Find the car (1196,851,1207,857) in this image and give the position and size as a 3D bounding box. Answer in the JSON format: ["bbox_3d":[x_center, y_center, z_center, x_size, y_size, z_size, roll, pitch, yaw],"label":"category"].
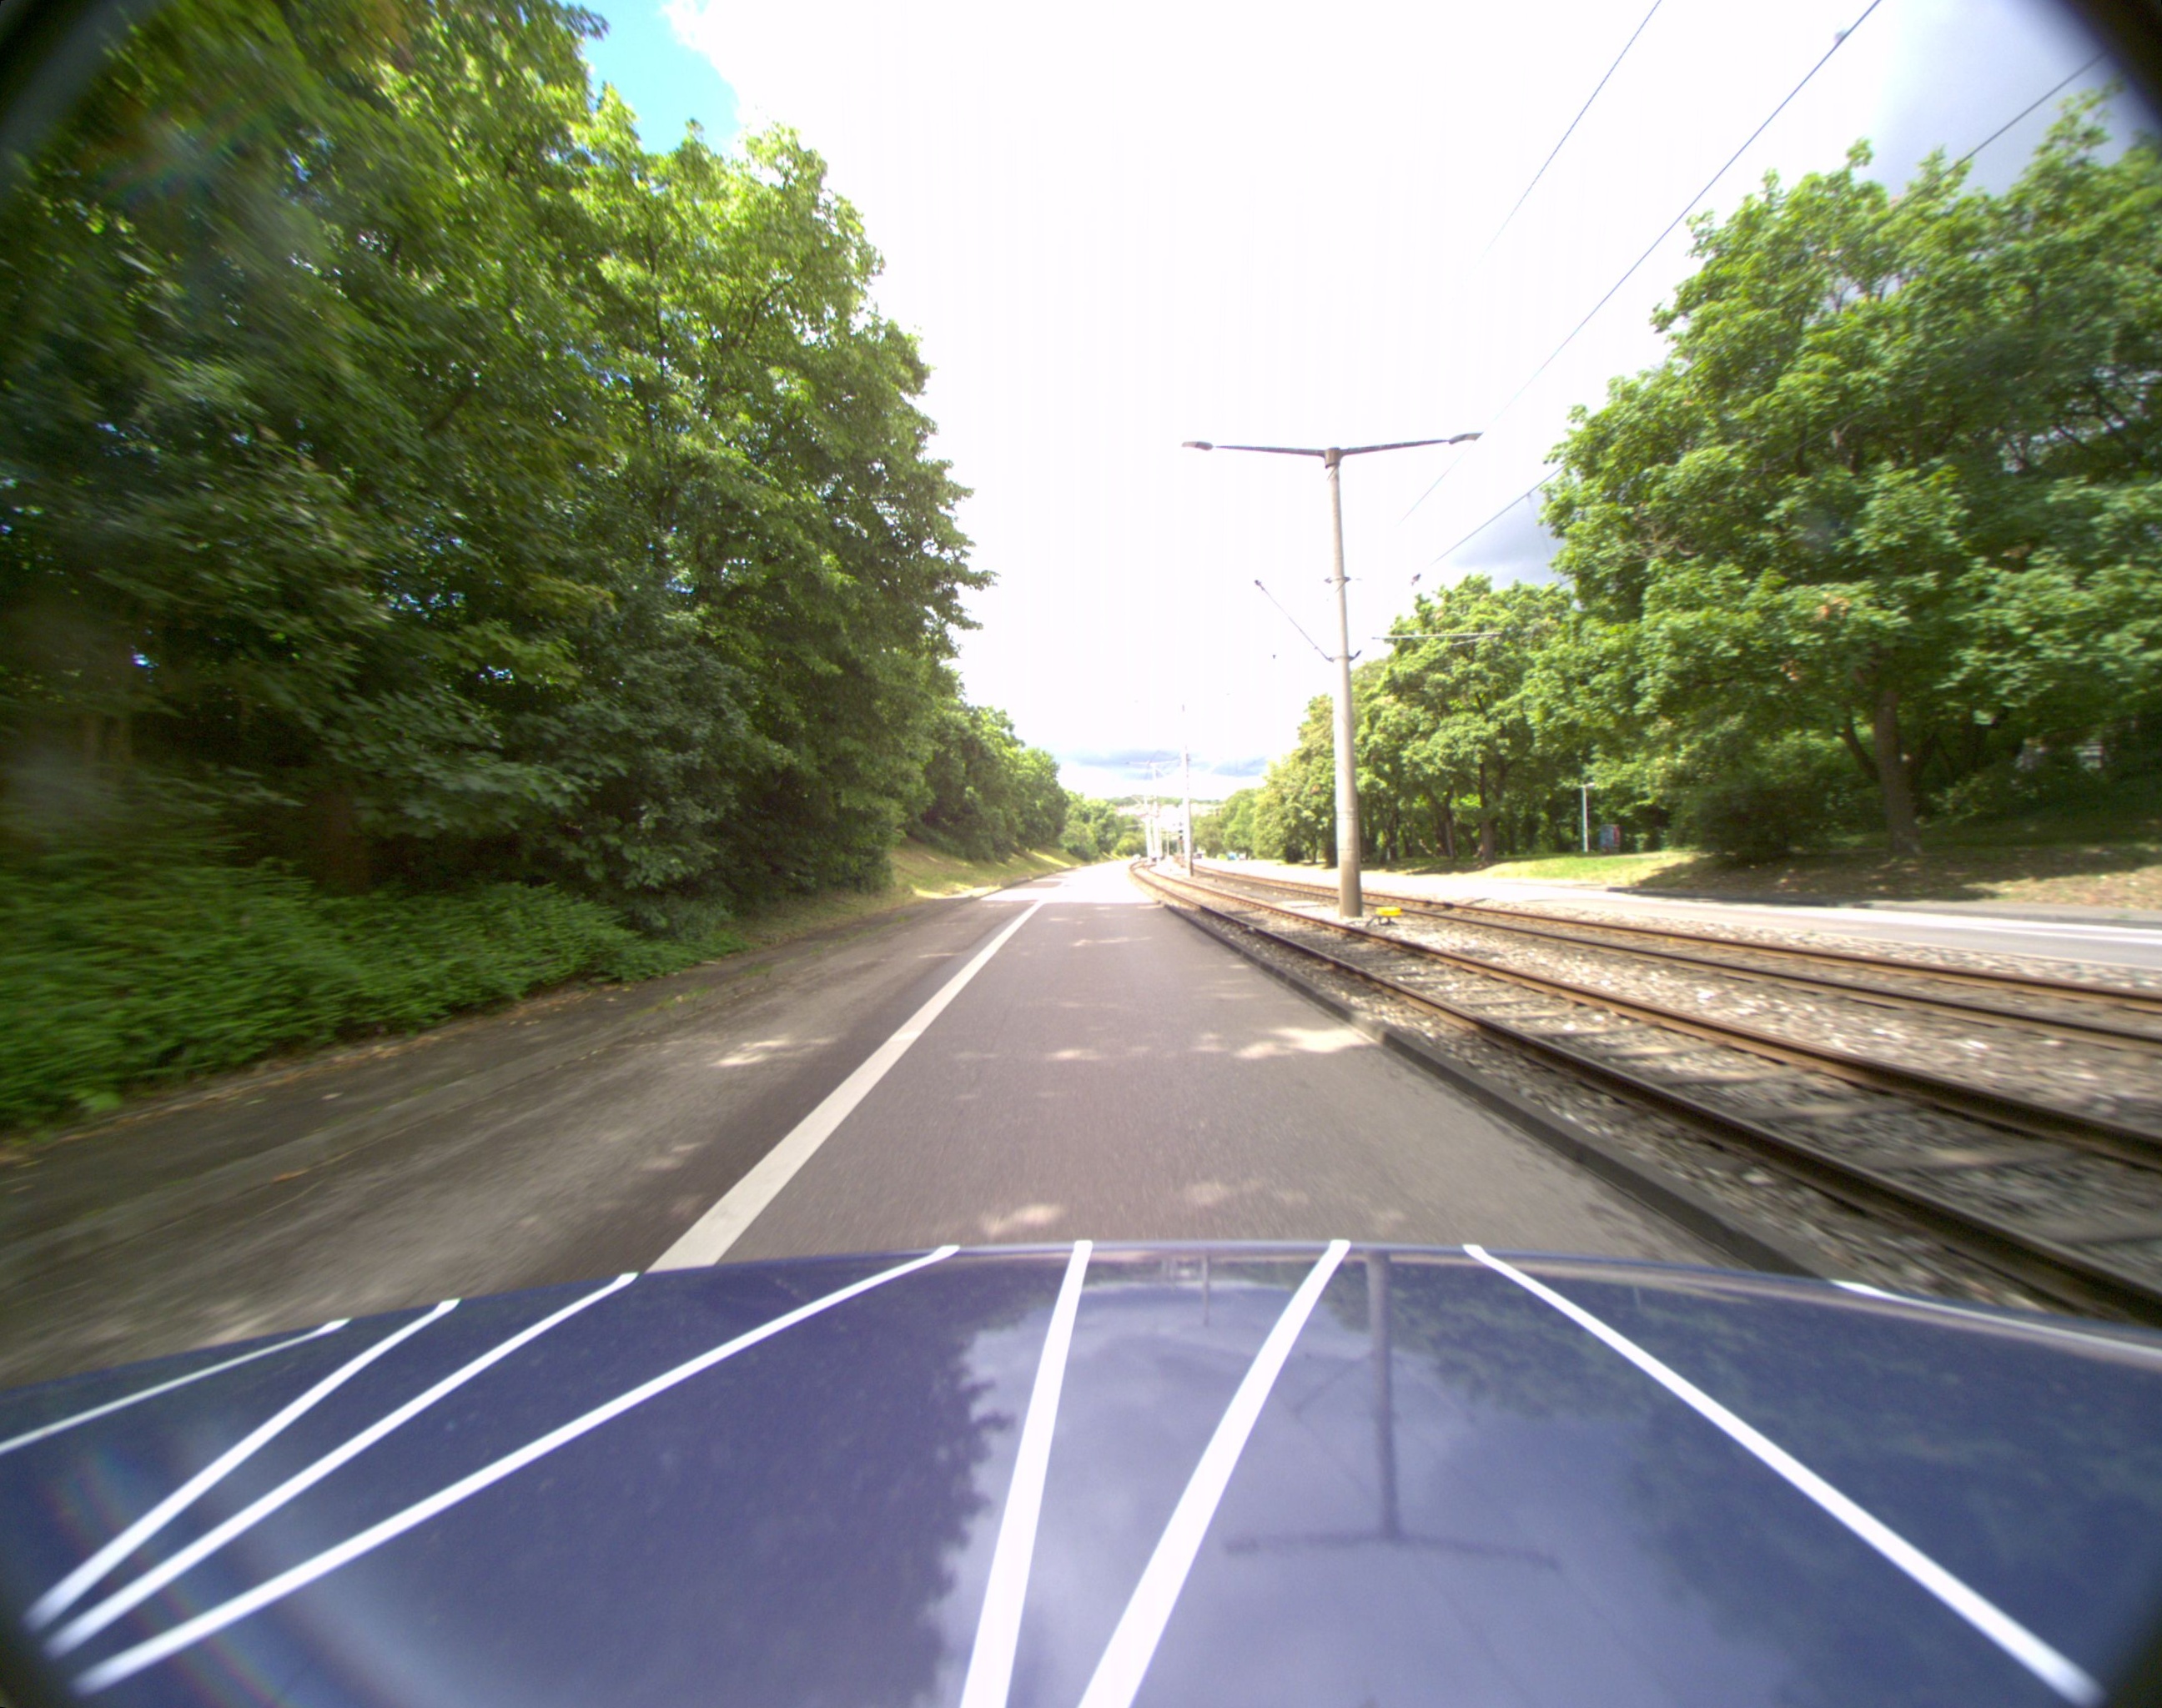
[{"bbox_3d":[26.430,0.053,166.777,1.839,1.383,4.863,0,0,4],"label":"car"}]
